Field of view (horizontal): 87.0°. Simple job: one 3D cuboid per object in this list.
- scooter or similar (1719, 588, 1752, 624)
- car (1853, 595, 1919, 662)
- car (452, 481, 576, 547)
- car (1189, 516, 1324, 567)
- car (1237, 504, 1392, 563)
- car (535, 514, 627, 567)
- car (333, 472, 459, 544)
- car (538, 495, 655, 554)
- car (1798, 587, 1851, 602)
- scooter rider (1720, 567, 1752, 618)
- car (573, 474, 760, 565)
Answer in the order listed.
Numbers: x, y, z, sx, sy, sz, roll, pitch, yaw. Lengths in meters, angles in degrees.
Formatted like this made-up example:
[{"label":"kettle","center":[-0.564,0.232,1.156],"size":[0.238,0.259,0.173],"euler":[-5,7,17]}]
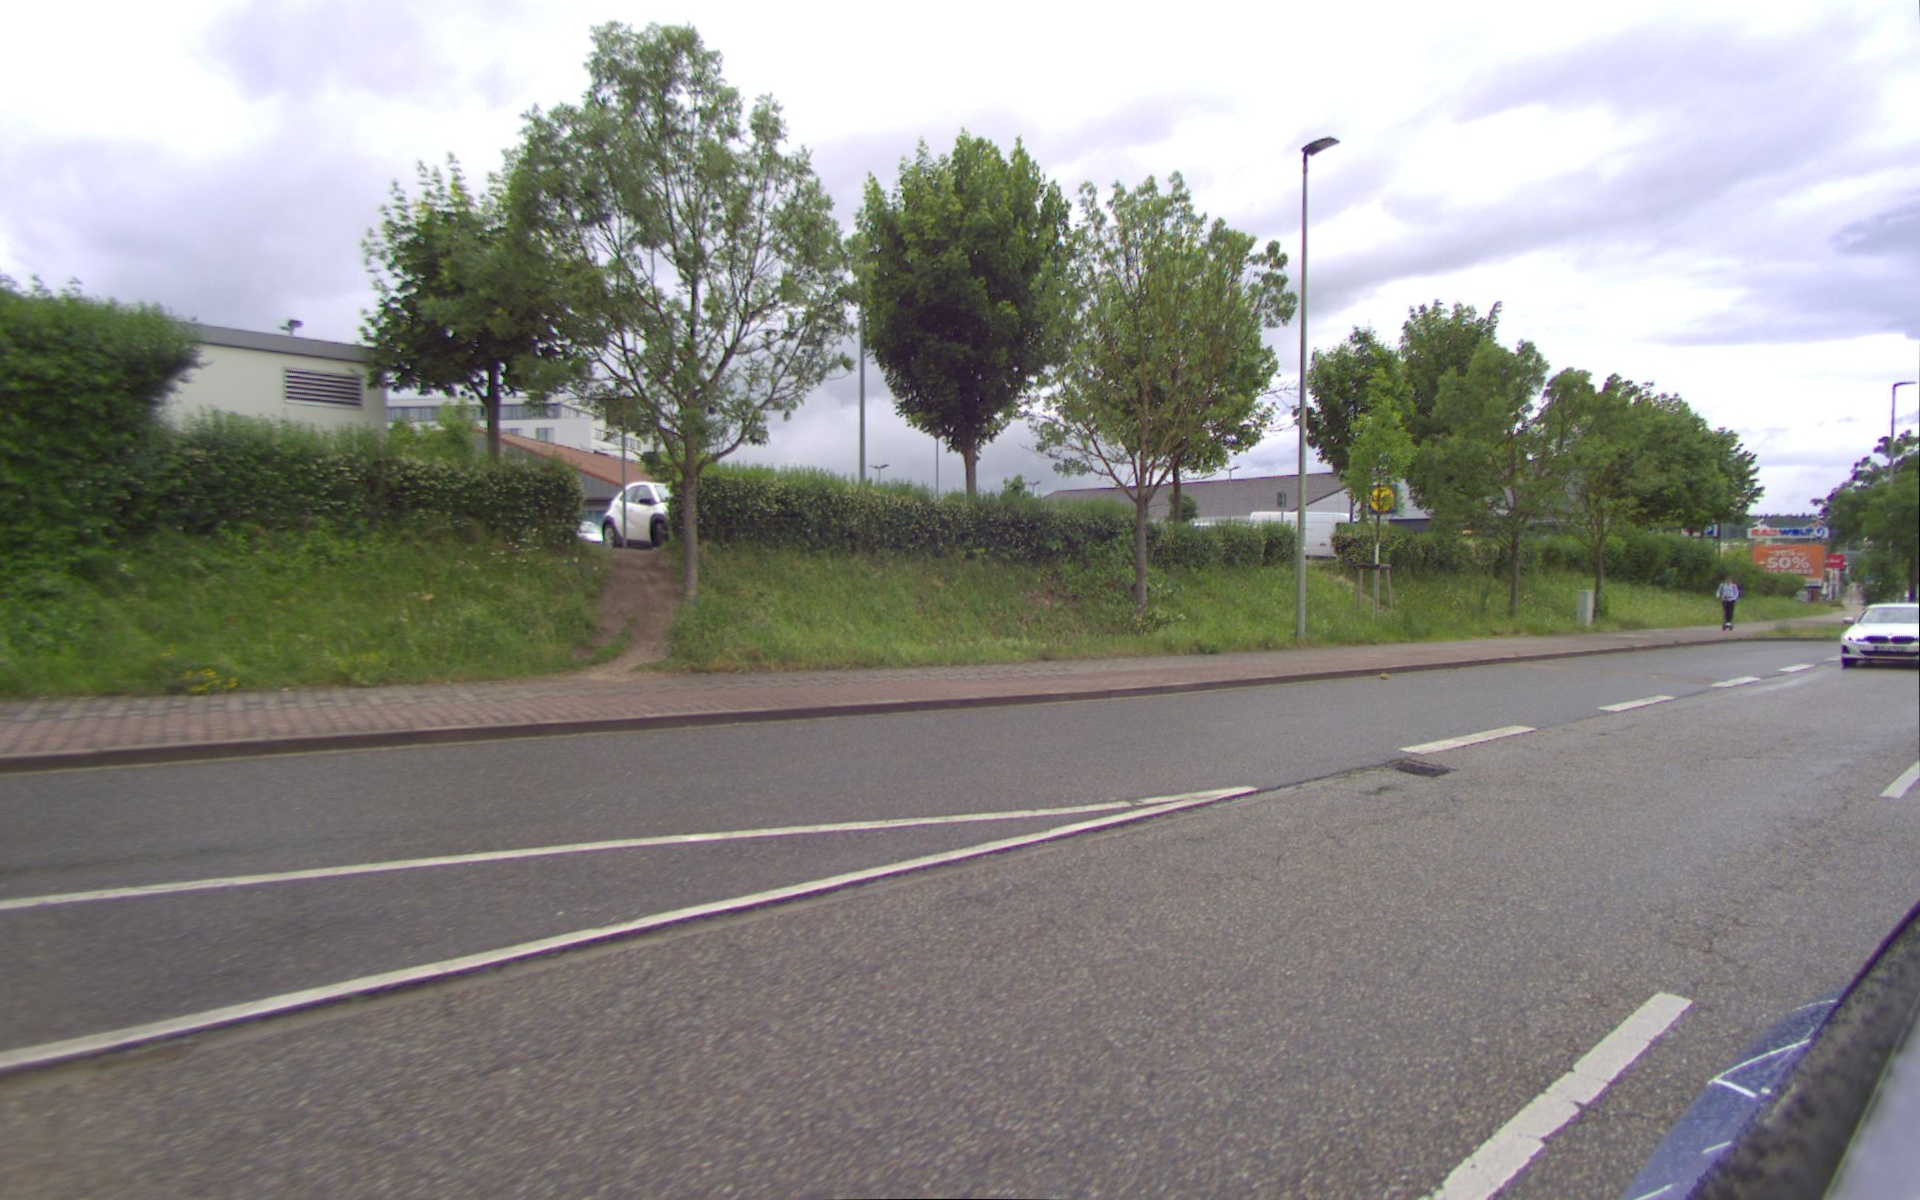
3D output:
[{"label":"scooter or similar","center":[29.008,0.221,37.840],"size":[1.377,1.279,0.696],"euler":[-1,4,-42]},{"label":"car","center":[22.453,0.614,23.609],"size":[4.461,1.459,1.807],"euler":[0,0,-40]},{"label":"car","center":[-12.809,-2.475,28.947],"size":[1.923,1.699,4.155],"euler":[-1,5,-44]},{"label":"car","center":[10.854,-2.173,37.270],"size":[4.351,1.648,1.898],"euler":[6,5,44]},{"label":"car","center":[14.544,-2.765,41.770],"size":[5.608,2.167,2.090],"euler":[6,5,42]},{"label":"car","center":[-13.786,-2.179,36.654],"size":[1.919,1.699,4.162],"euler":[-1,5,-39]},{"label":"car","center":[-14.860,-2.409,26.586],"size":[1.923,1.699,3.992],"euler":[-1,5,-44]},{"label":"car","center":[-11.516,-2.411,31.904],"size":[1.923,1.699,4.155],"euler":[-1,5,-44]},{"label":"car","center":[109.389,-0.704,128.108],"size":[1.890,1.620,4.672],"euler":[1,4,-37]},{"label":"scooter rider","center":[28.970,-0.292,37.779],"size":[0.843,1.842,0.696],"euler":[-1,4,-42]},{"label":"car","center":[-6.107,-1.675,20.748],"size":[1.896,1.648,4.355],"euler":[-1,5,-43]}]
